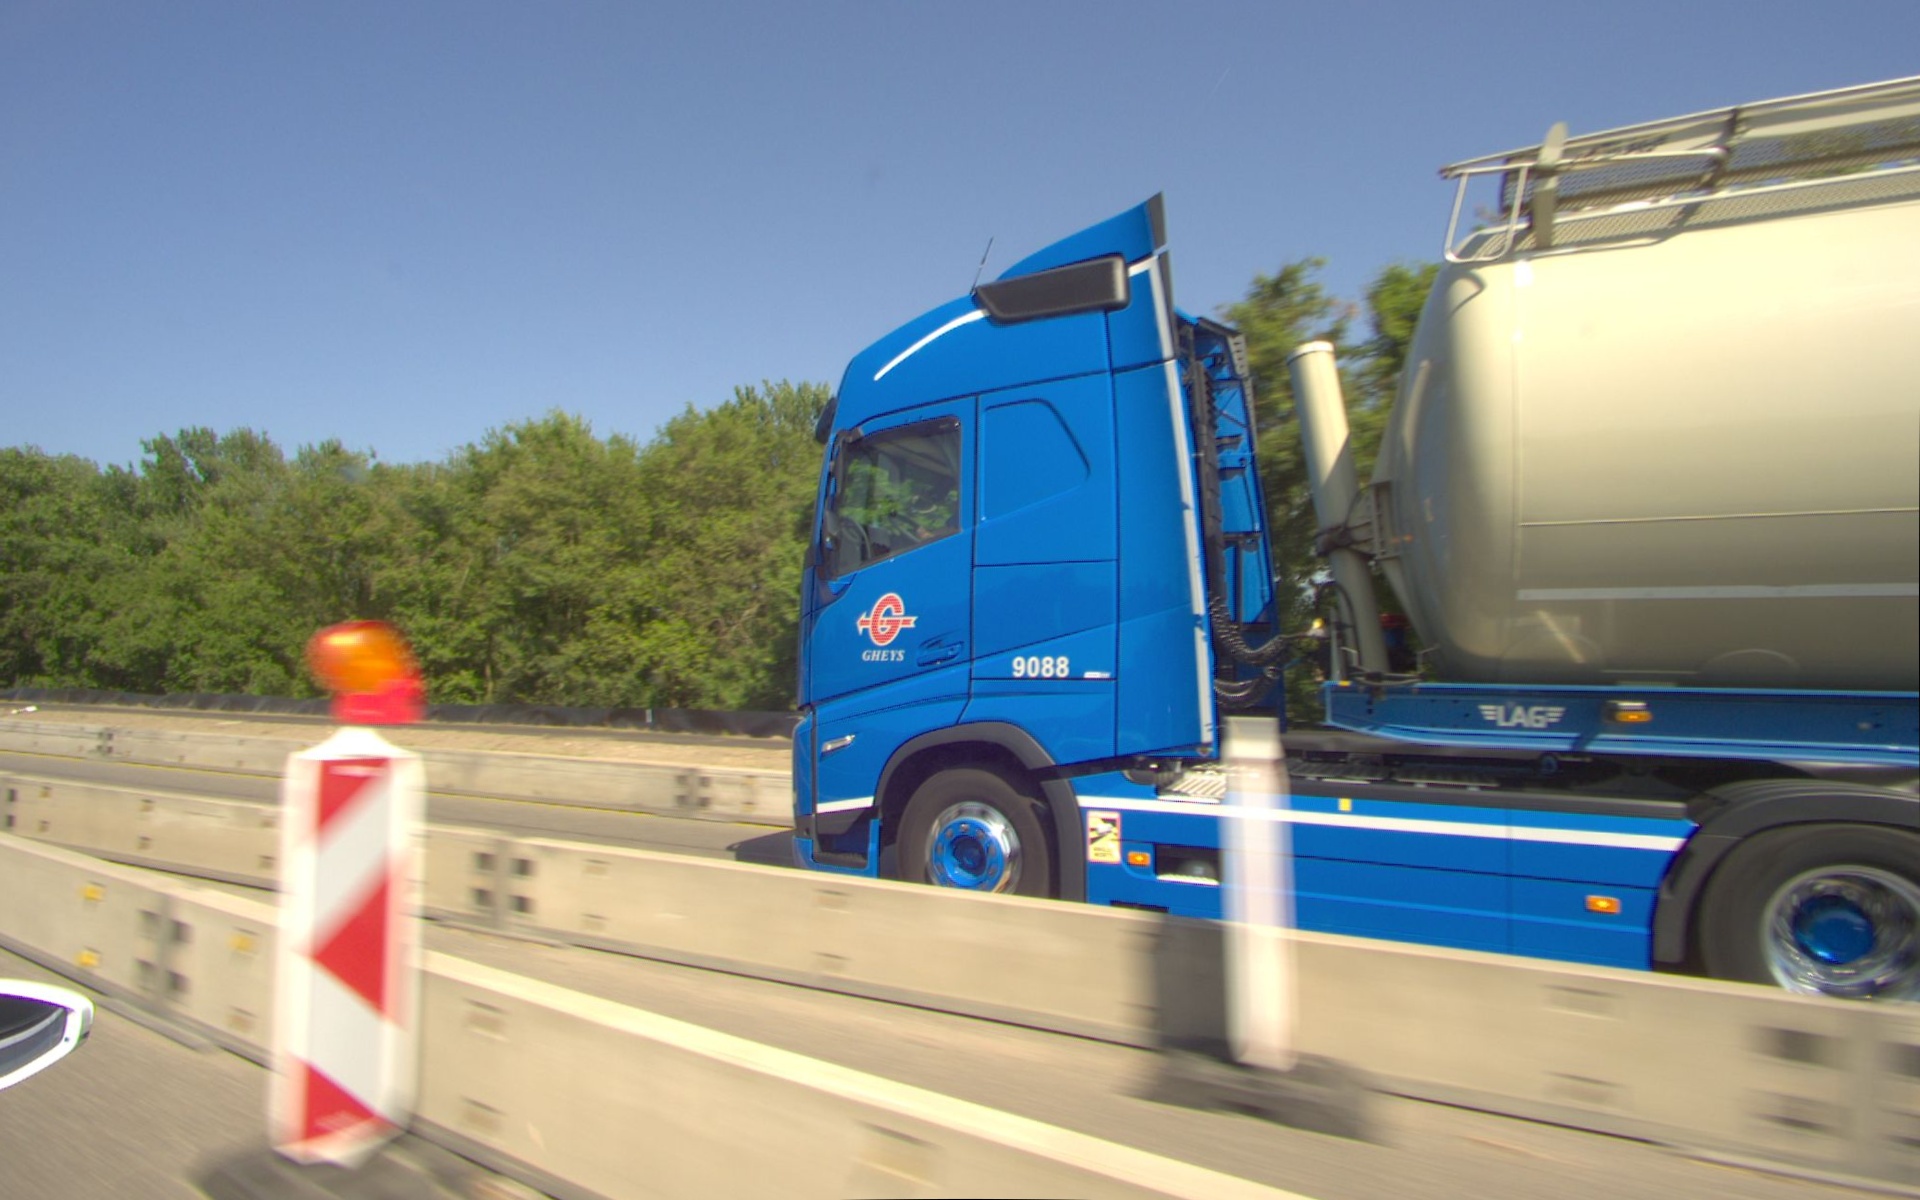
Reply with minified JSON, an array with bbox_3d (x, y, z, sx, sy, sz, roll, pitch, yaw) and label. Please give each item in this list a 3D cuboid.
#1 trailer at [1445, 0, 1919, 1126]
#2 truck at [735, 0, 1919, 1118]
[{"bbox_3d":[8.307,-0.245,2.799,12.410,4.188,2.696,-1,-3,25],"label":"trailer"},{"bbox_3d":[2.509,-0.127,5.570,7.182,4.153,2.696,-1,-3,25],"label":"truck"}]
